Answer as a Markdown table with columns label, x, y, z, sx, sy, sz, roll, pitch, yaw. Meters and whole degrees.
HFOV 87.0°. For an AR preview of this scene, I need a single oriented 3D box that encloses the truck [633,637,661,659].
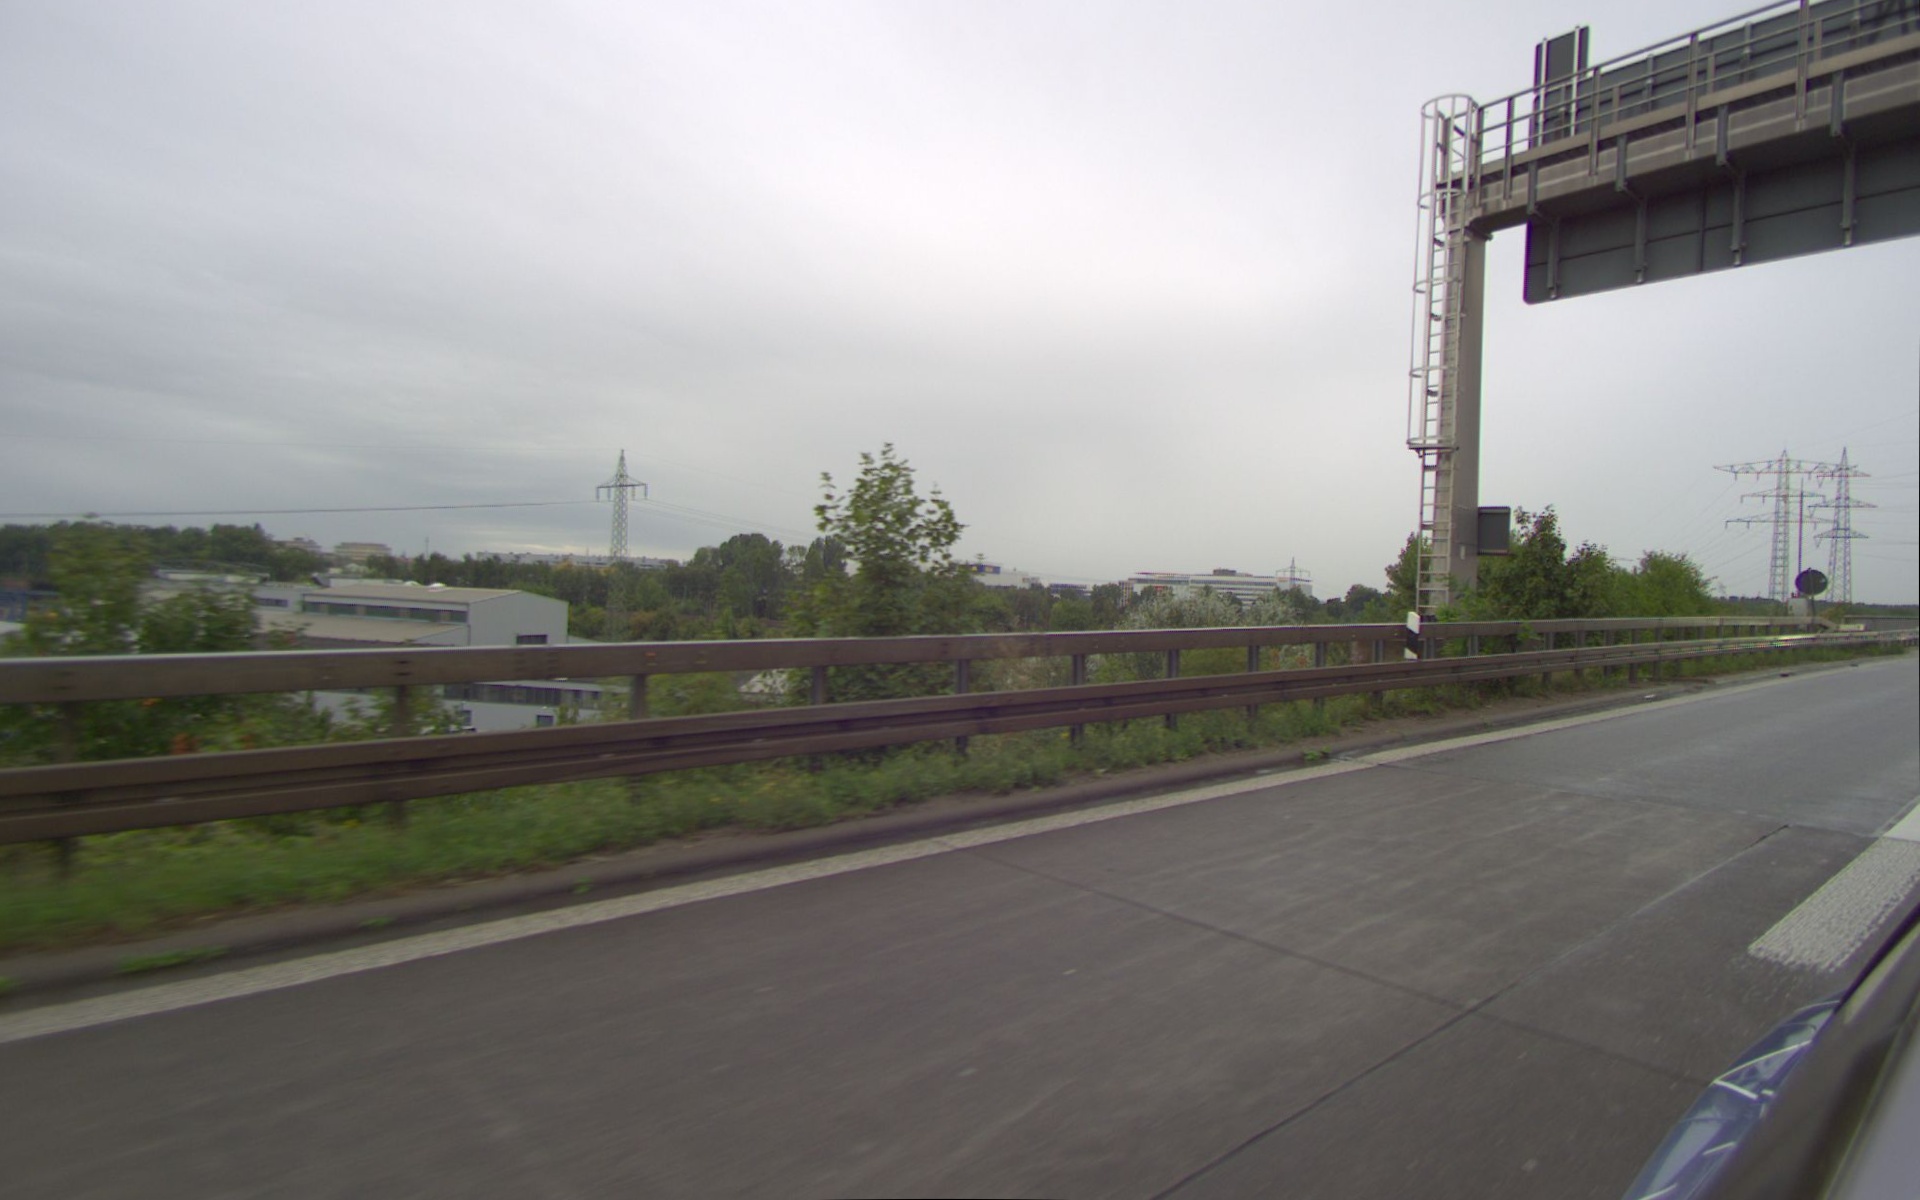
| label | x | y | z | sx | sy | sz | roll | pitch | yaw |
| --- | --- | --- | --- | --- | --- | --- | --- | --- | --- |
| truck | -50.081 | 7.678 | 162.063 | 2.067 | 3.225 | 6.581 | 0 | 0 | 4 |
